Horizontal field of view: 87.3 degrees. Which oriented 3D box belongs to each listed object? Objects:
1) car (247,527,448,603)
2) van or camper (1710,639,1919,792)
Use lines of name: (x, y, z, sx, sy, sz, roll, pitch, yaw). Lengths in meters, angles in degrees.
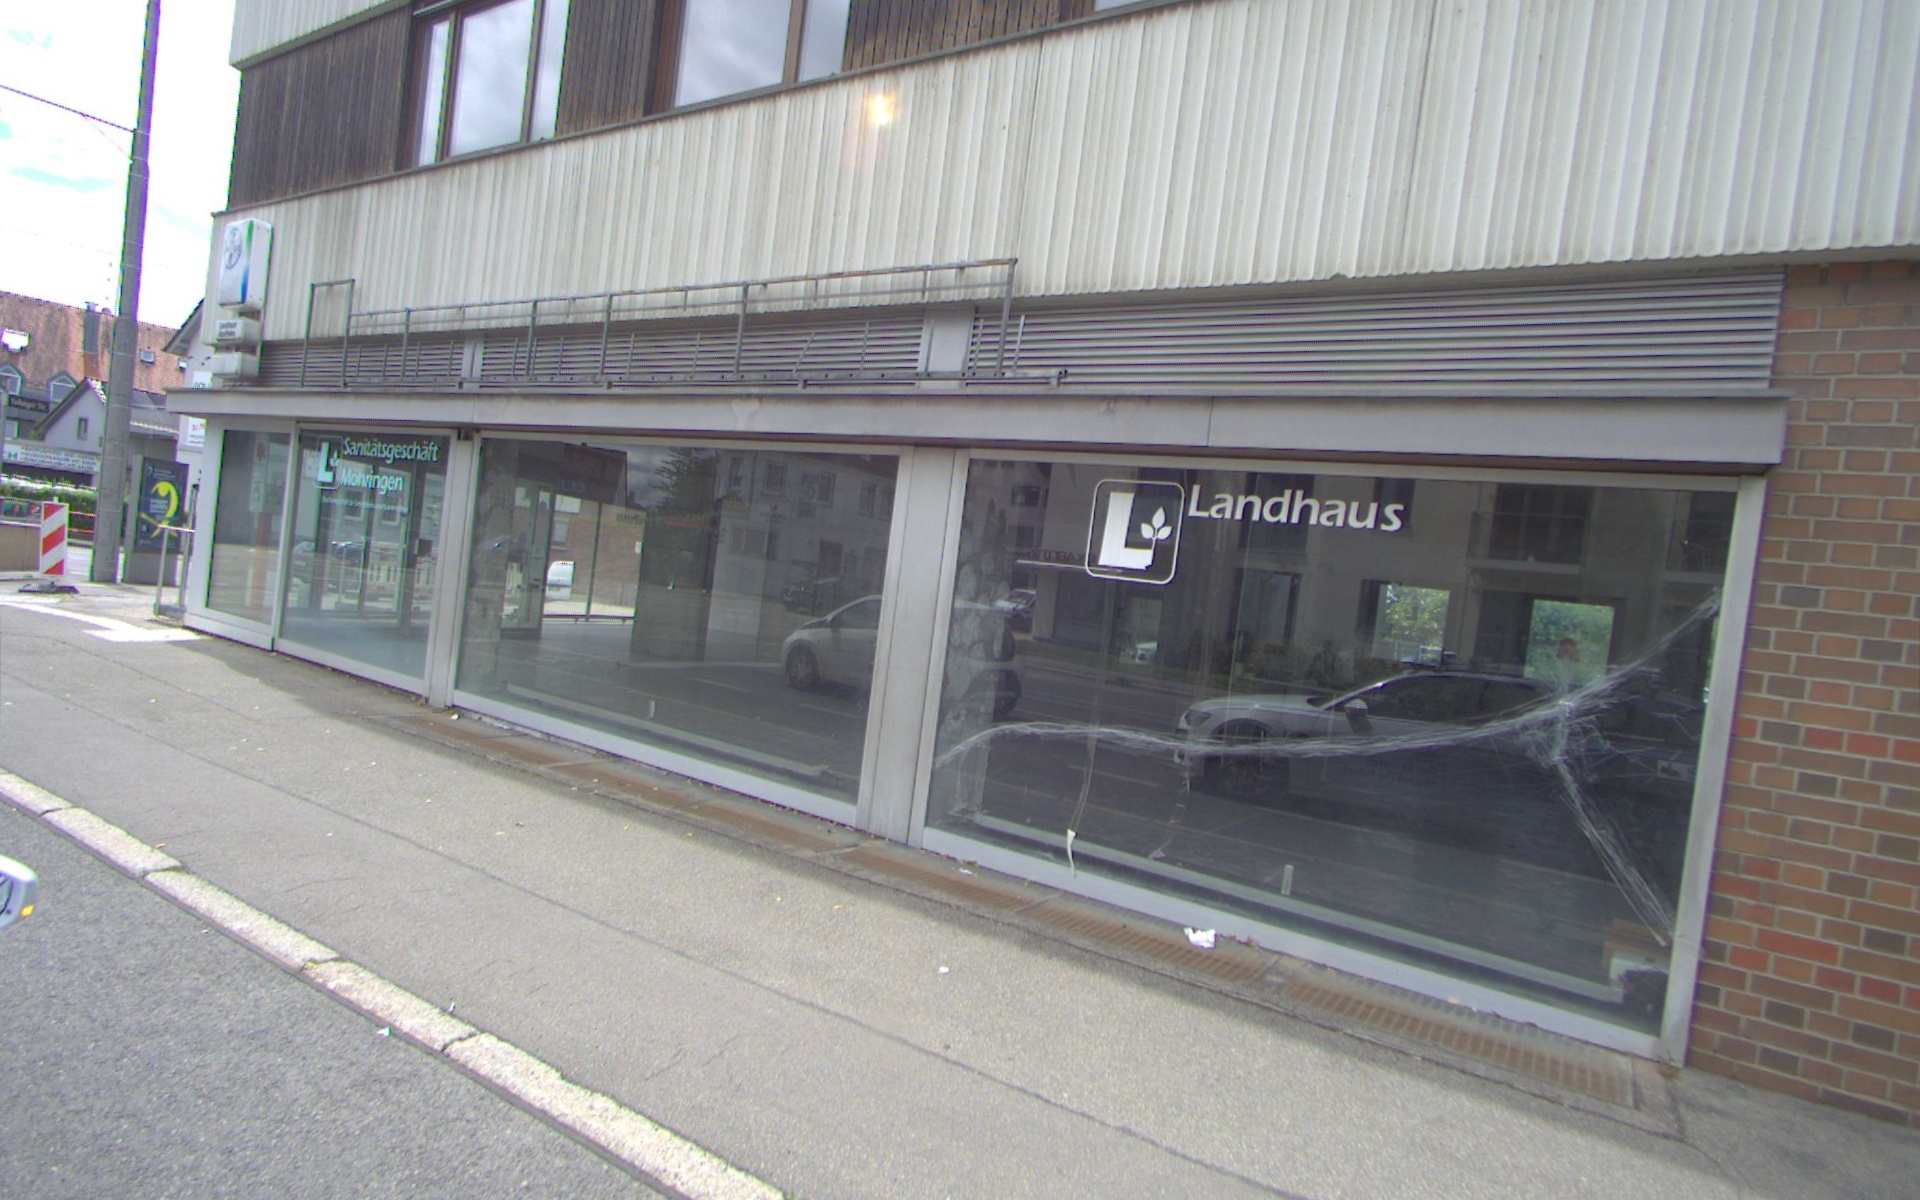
car: (-18.600, -1.010, 30.842, 1.964, 1.596, 4.913, 7, -1, 24)
van or camper: (18.741, 2.427, 20.210, 5.409, 2.574, 2.058, 7, 1, 4)
